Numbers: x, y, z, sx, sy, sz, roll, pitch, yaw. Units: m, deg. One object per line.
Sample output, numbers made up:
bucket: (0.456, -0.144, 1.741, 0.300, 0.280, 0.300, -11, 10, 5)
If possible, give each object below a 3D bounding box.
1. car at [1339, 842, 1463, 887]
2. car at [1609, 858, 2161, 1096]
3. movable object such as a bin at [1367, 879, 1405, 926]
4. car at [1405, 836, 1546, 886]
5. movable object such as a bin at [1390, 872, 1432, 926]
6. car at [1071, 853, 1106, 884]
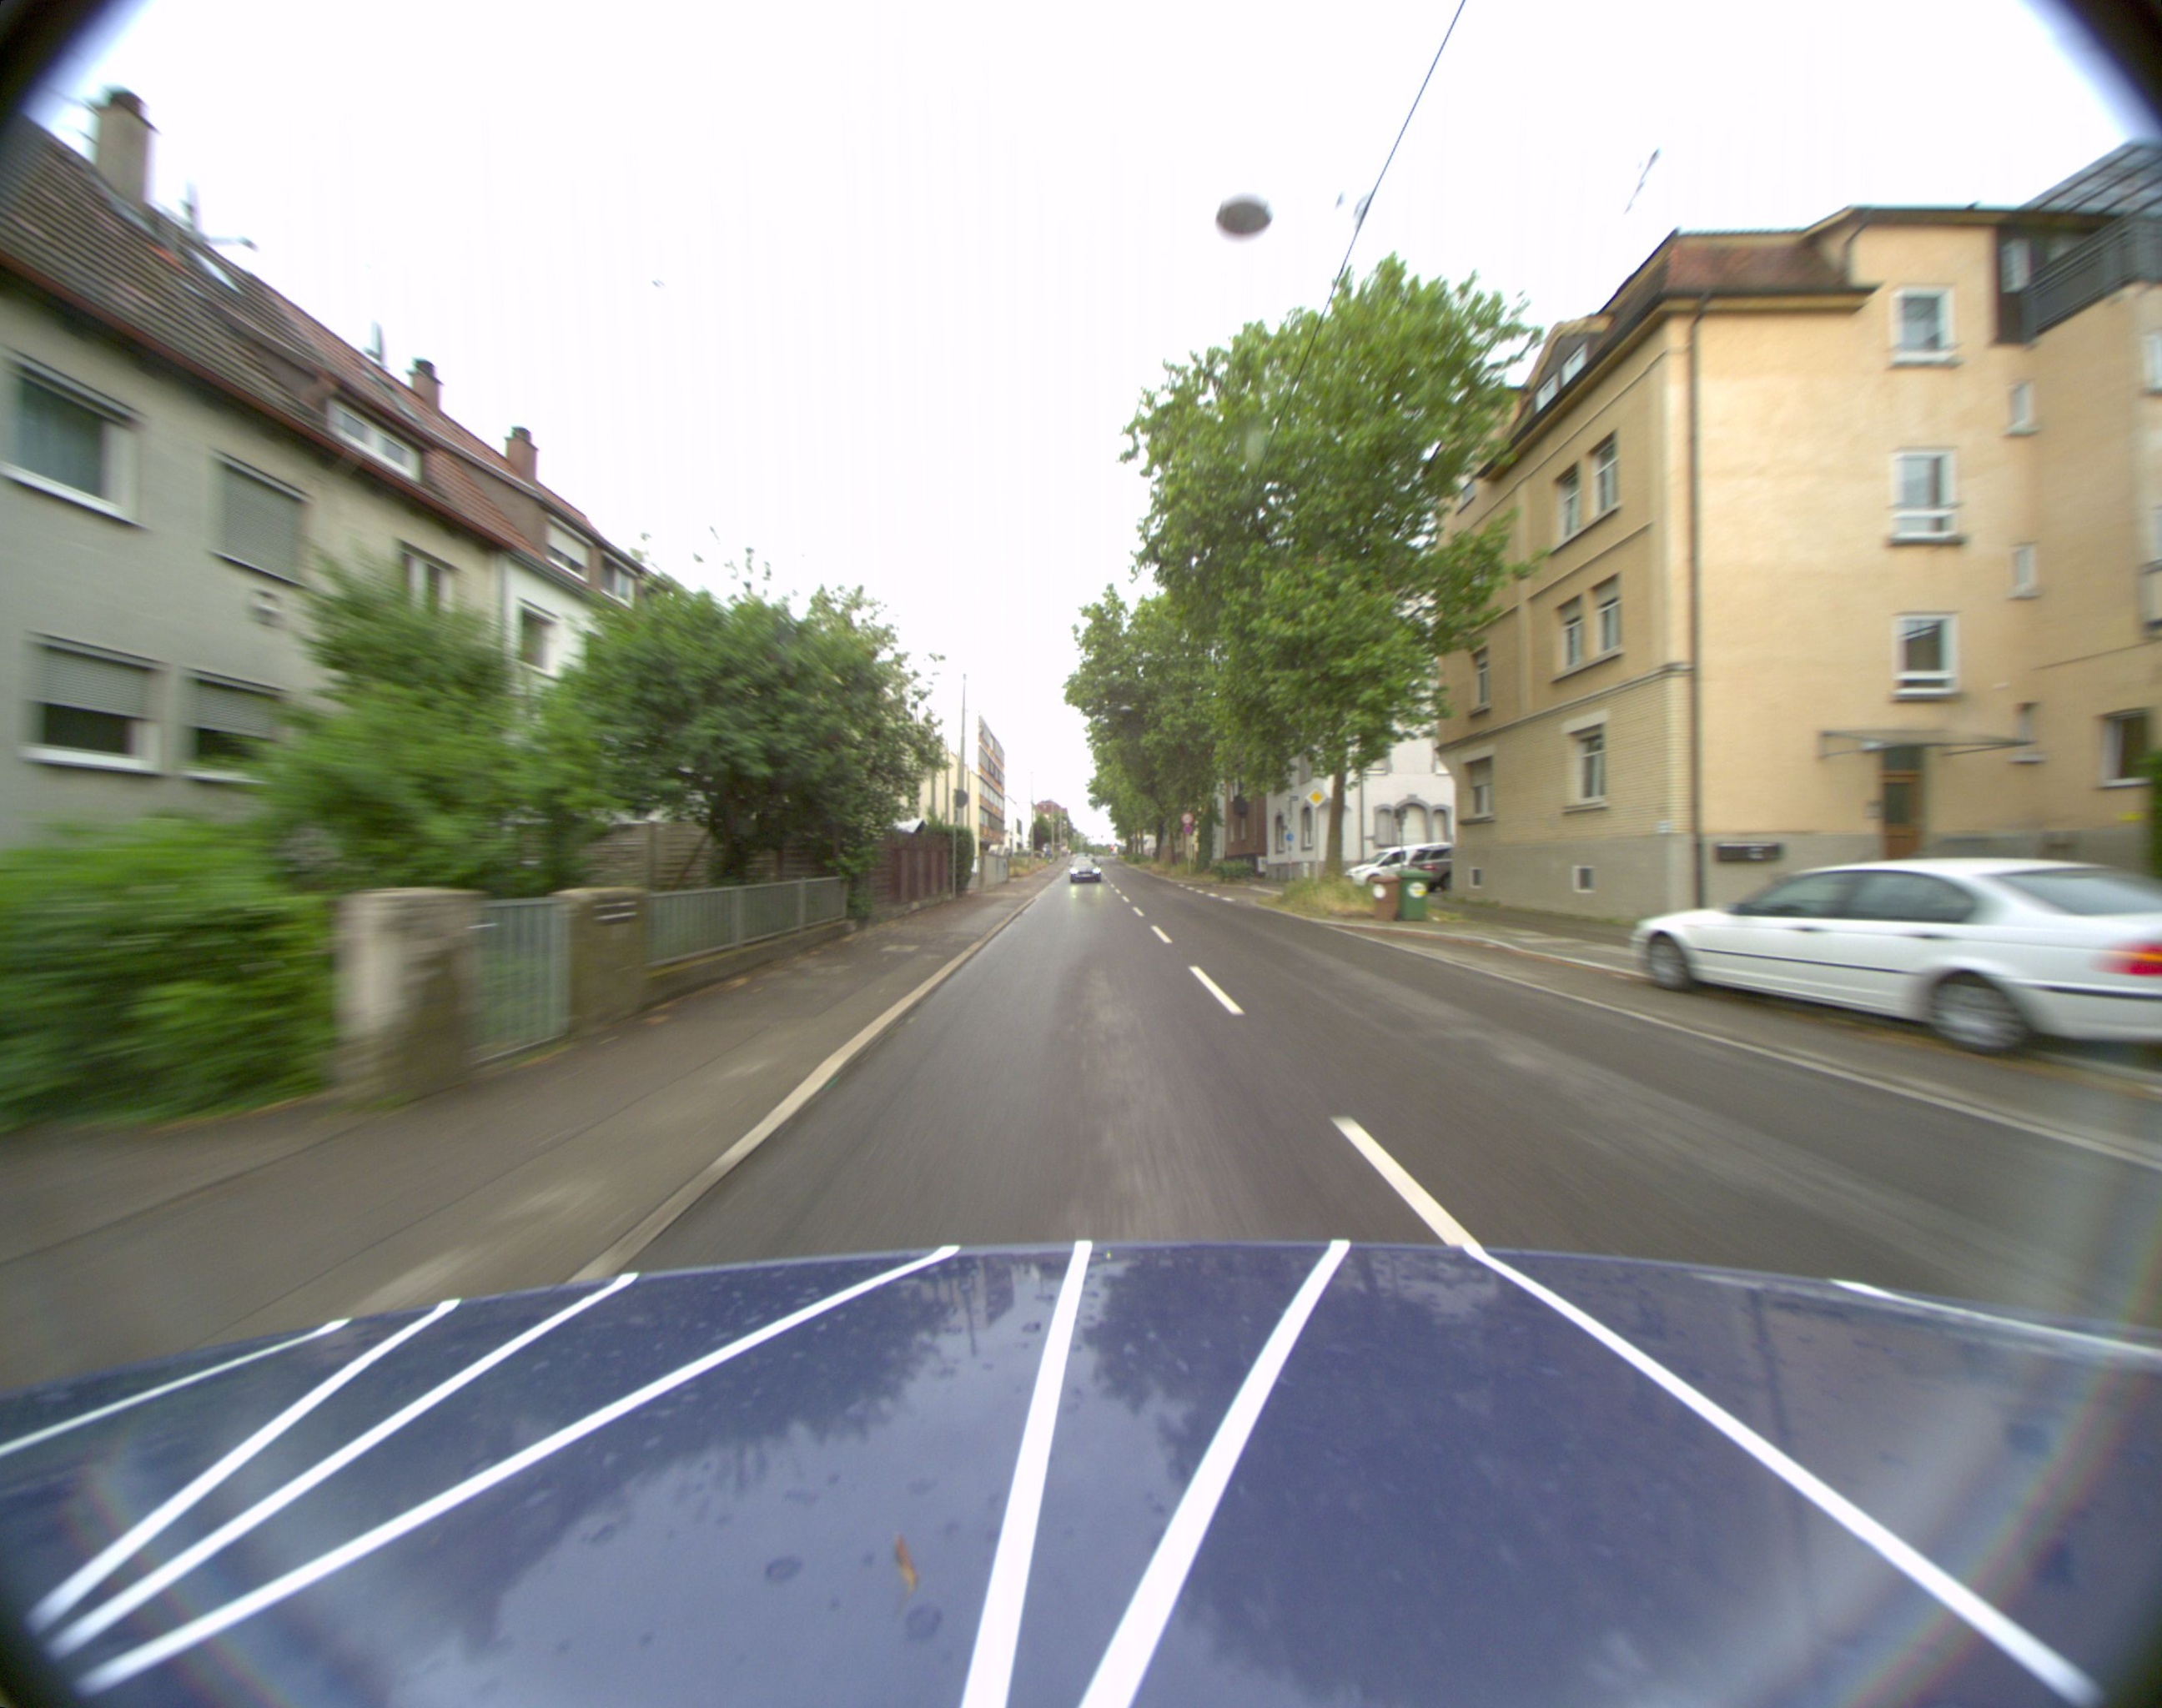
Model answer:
car: (14.278, 0.452, 34.098, 4.682, 1.768, 2.020, -3, 1, 0)
car: (7.210, 0.746, 6.723, 1.760, 1.318, 4.537, -2, 0, -3)
movable object such as a bin: (6.232, 0.979, 15.545, 0.513, 0.922, 0.581, 0, 1, 0)
car: (14.489, 0.232, 28.086, 4.124, 1.602, 2.043, -2, 1, 3)
movable object such as a bin: (6.795, 0.920, 15.673, 0.536, 1.051, 0.762, 0, 1, 0)
car: (0.395, 0.825, 45.324, 1.949, 1.644, 3.858, -1, 1, -1)
